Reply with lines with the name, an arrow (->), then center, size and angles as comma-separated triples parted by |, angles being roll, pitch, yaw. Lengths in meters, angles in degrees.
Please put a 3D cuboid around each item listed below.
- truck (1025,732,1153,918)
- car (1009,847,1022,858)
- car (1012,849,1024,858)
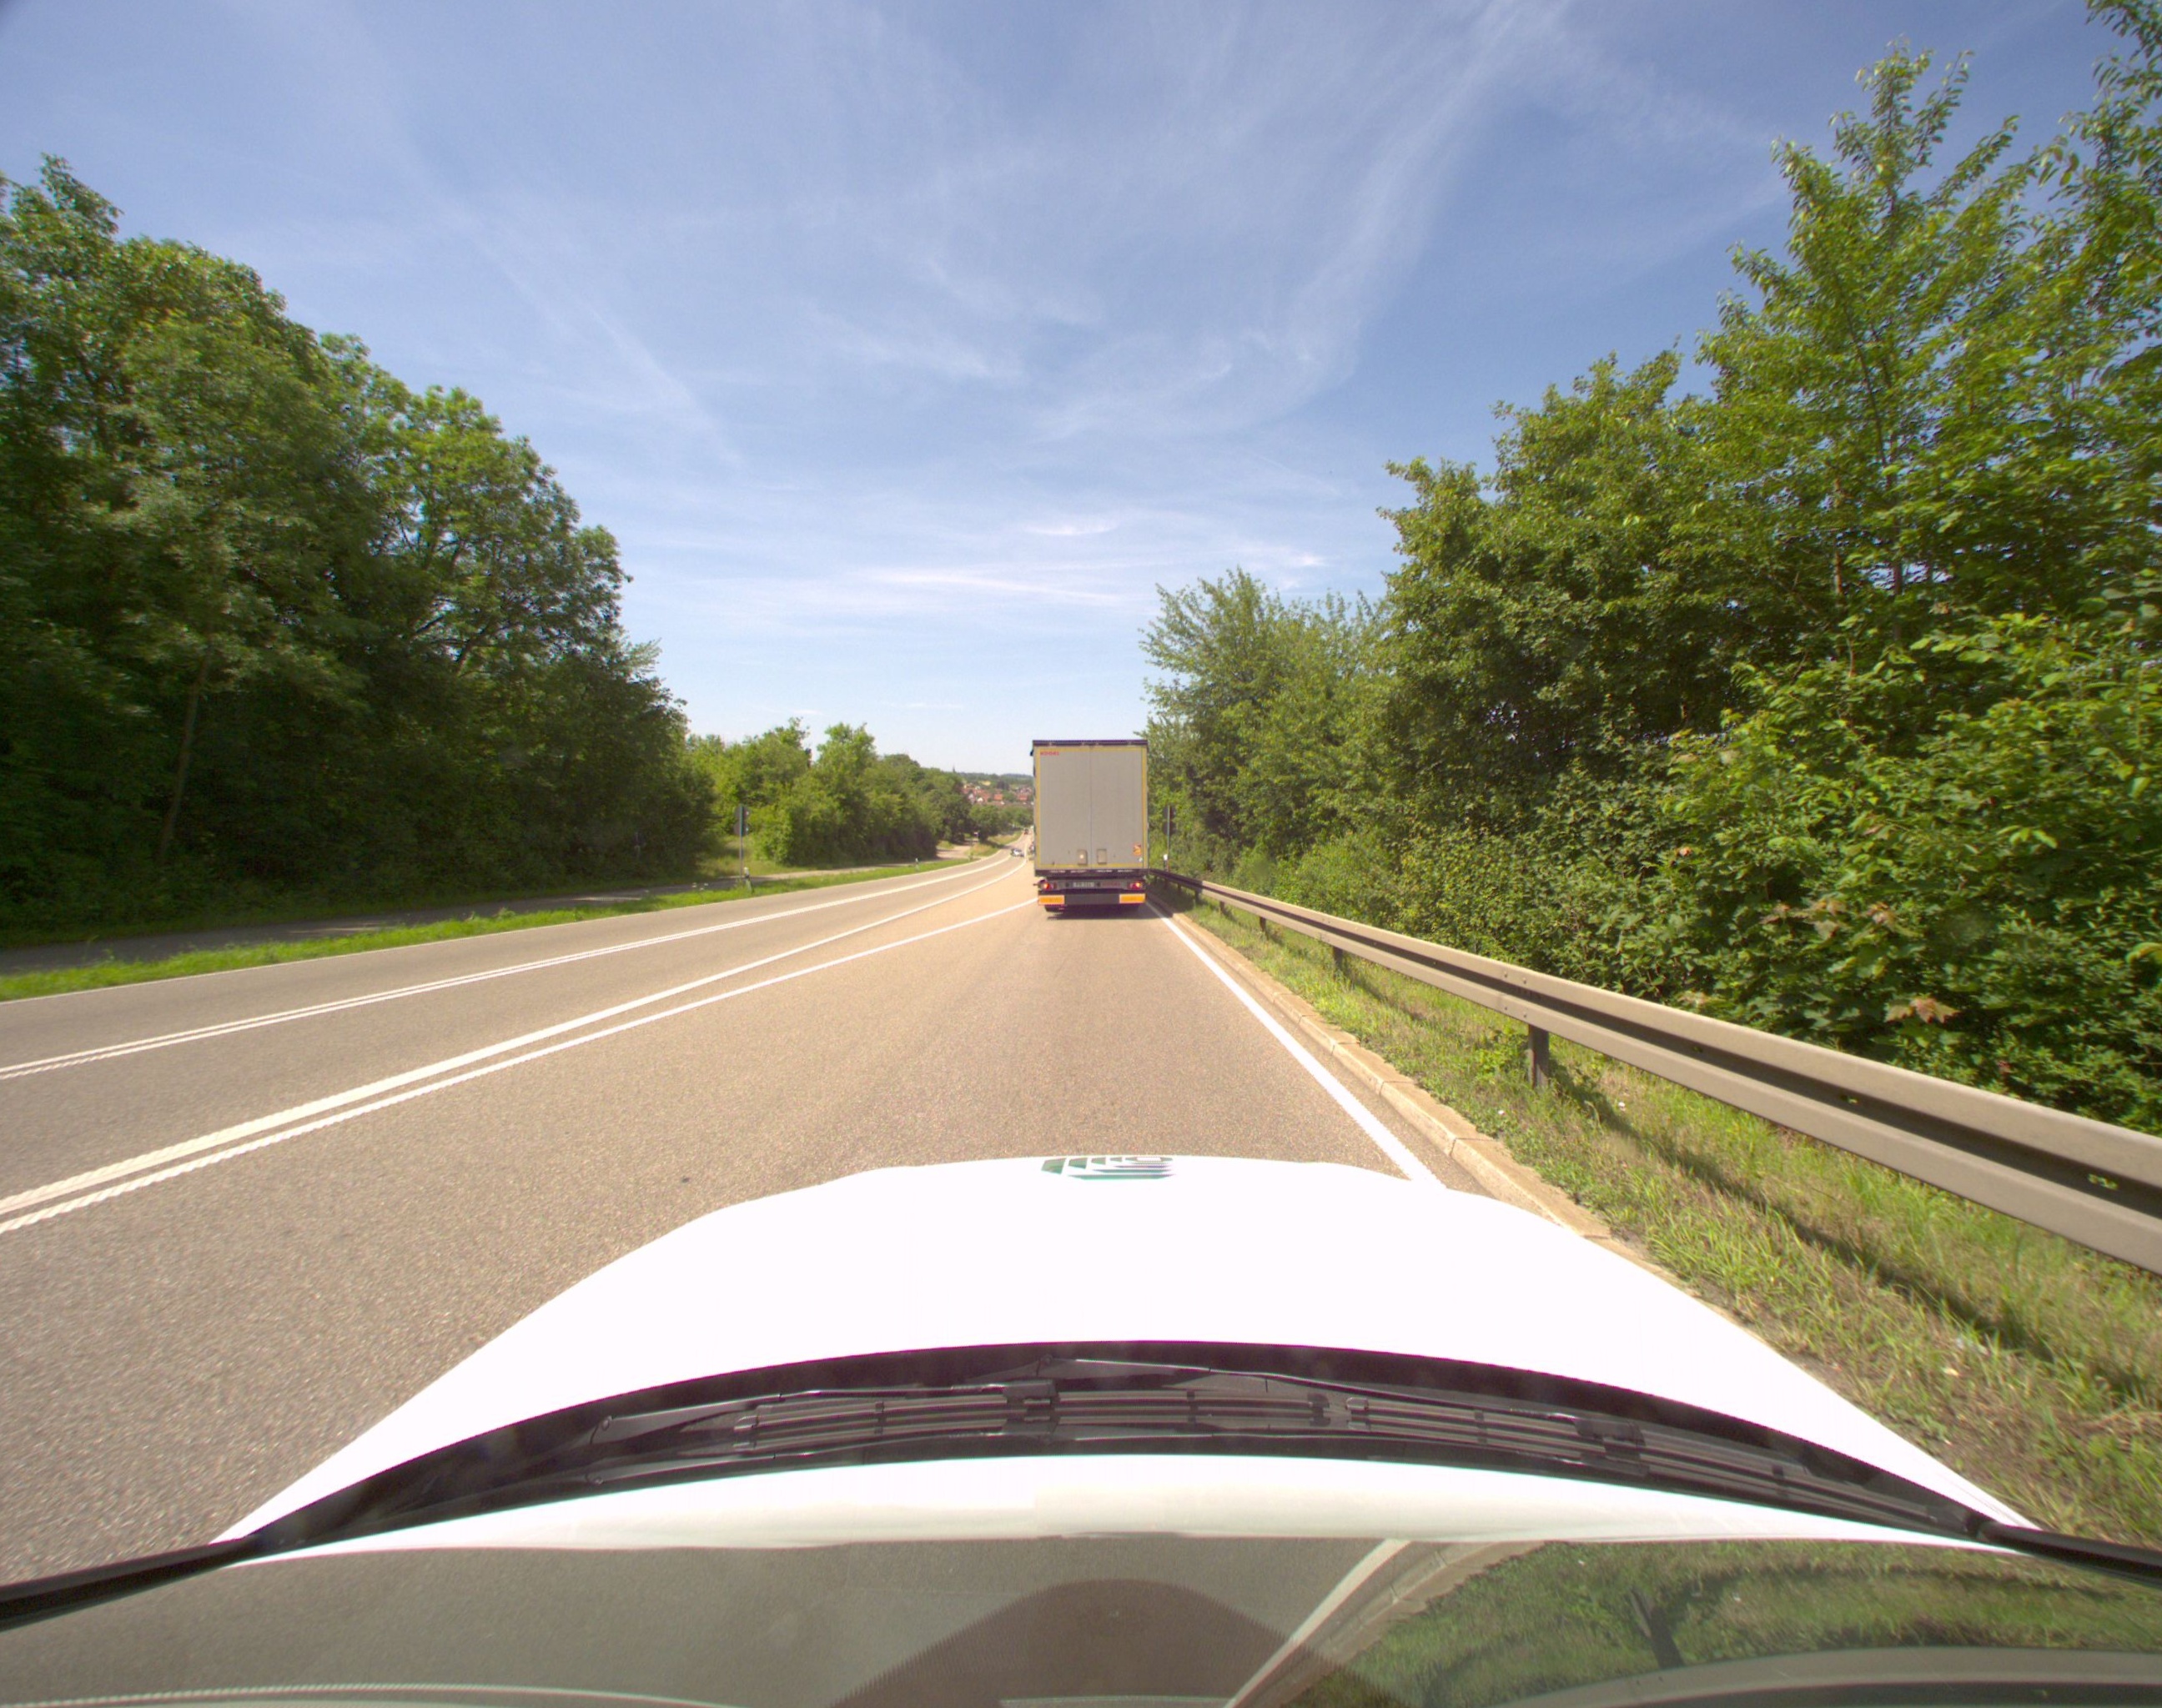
truck -> 0.355, -0.662, 23.746 | 2.747, 4.029, 11.928 | -1, 0, 2
car -> -12.268, -0.243, 152.235 | 1.767, 1.926, 3.729 | 0, -1, -15
car -> -12.415, -0.102, 161.394 | 1.808, 1.794, 3.824 | 0, -1, -13
